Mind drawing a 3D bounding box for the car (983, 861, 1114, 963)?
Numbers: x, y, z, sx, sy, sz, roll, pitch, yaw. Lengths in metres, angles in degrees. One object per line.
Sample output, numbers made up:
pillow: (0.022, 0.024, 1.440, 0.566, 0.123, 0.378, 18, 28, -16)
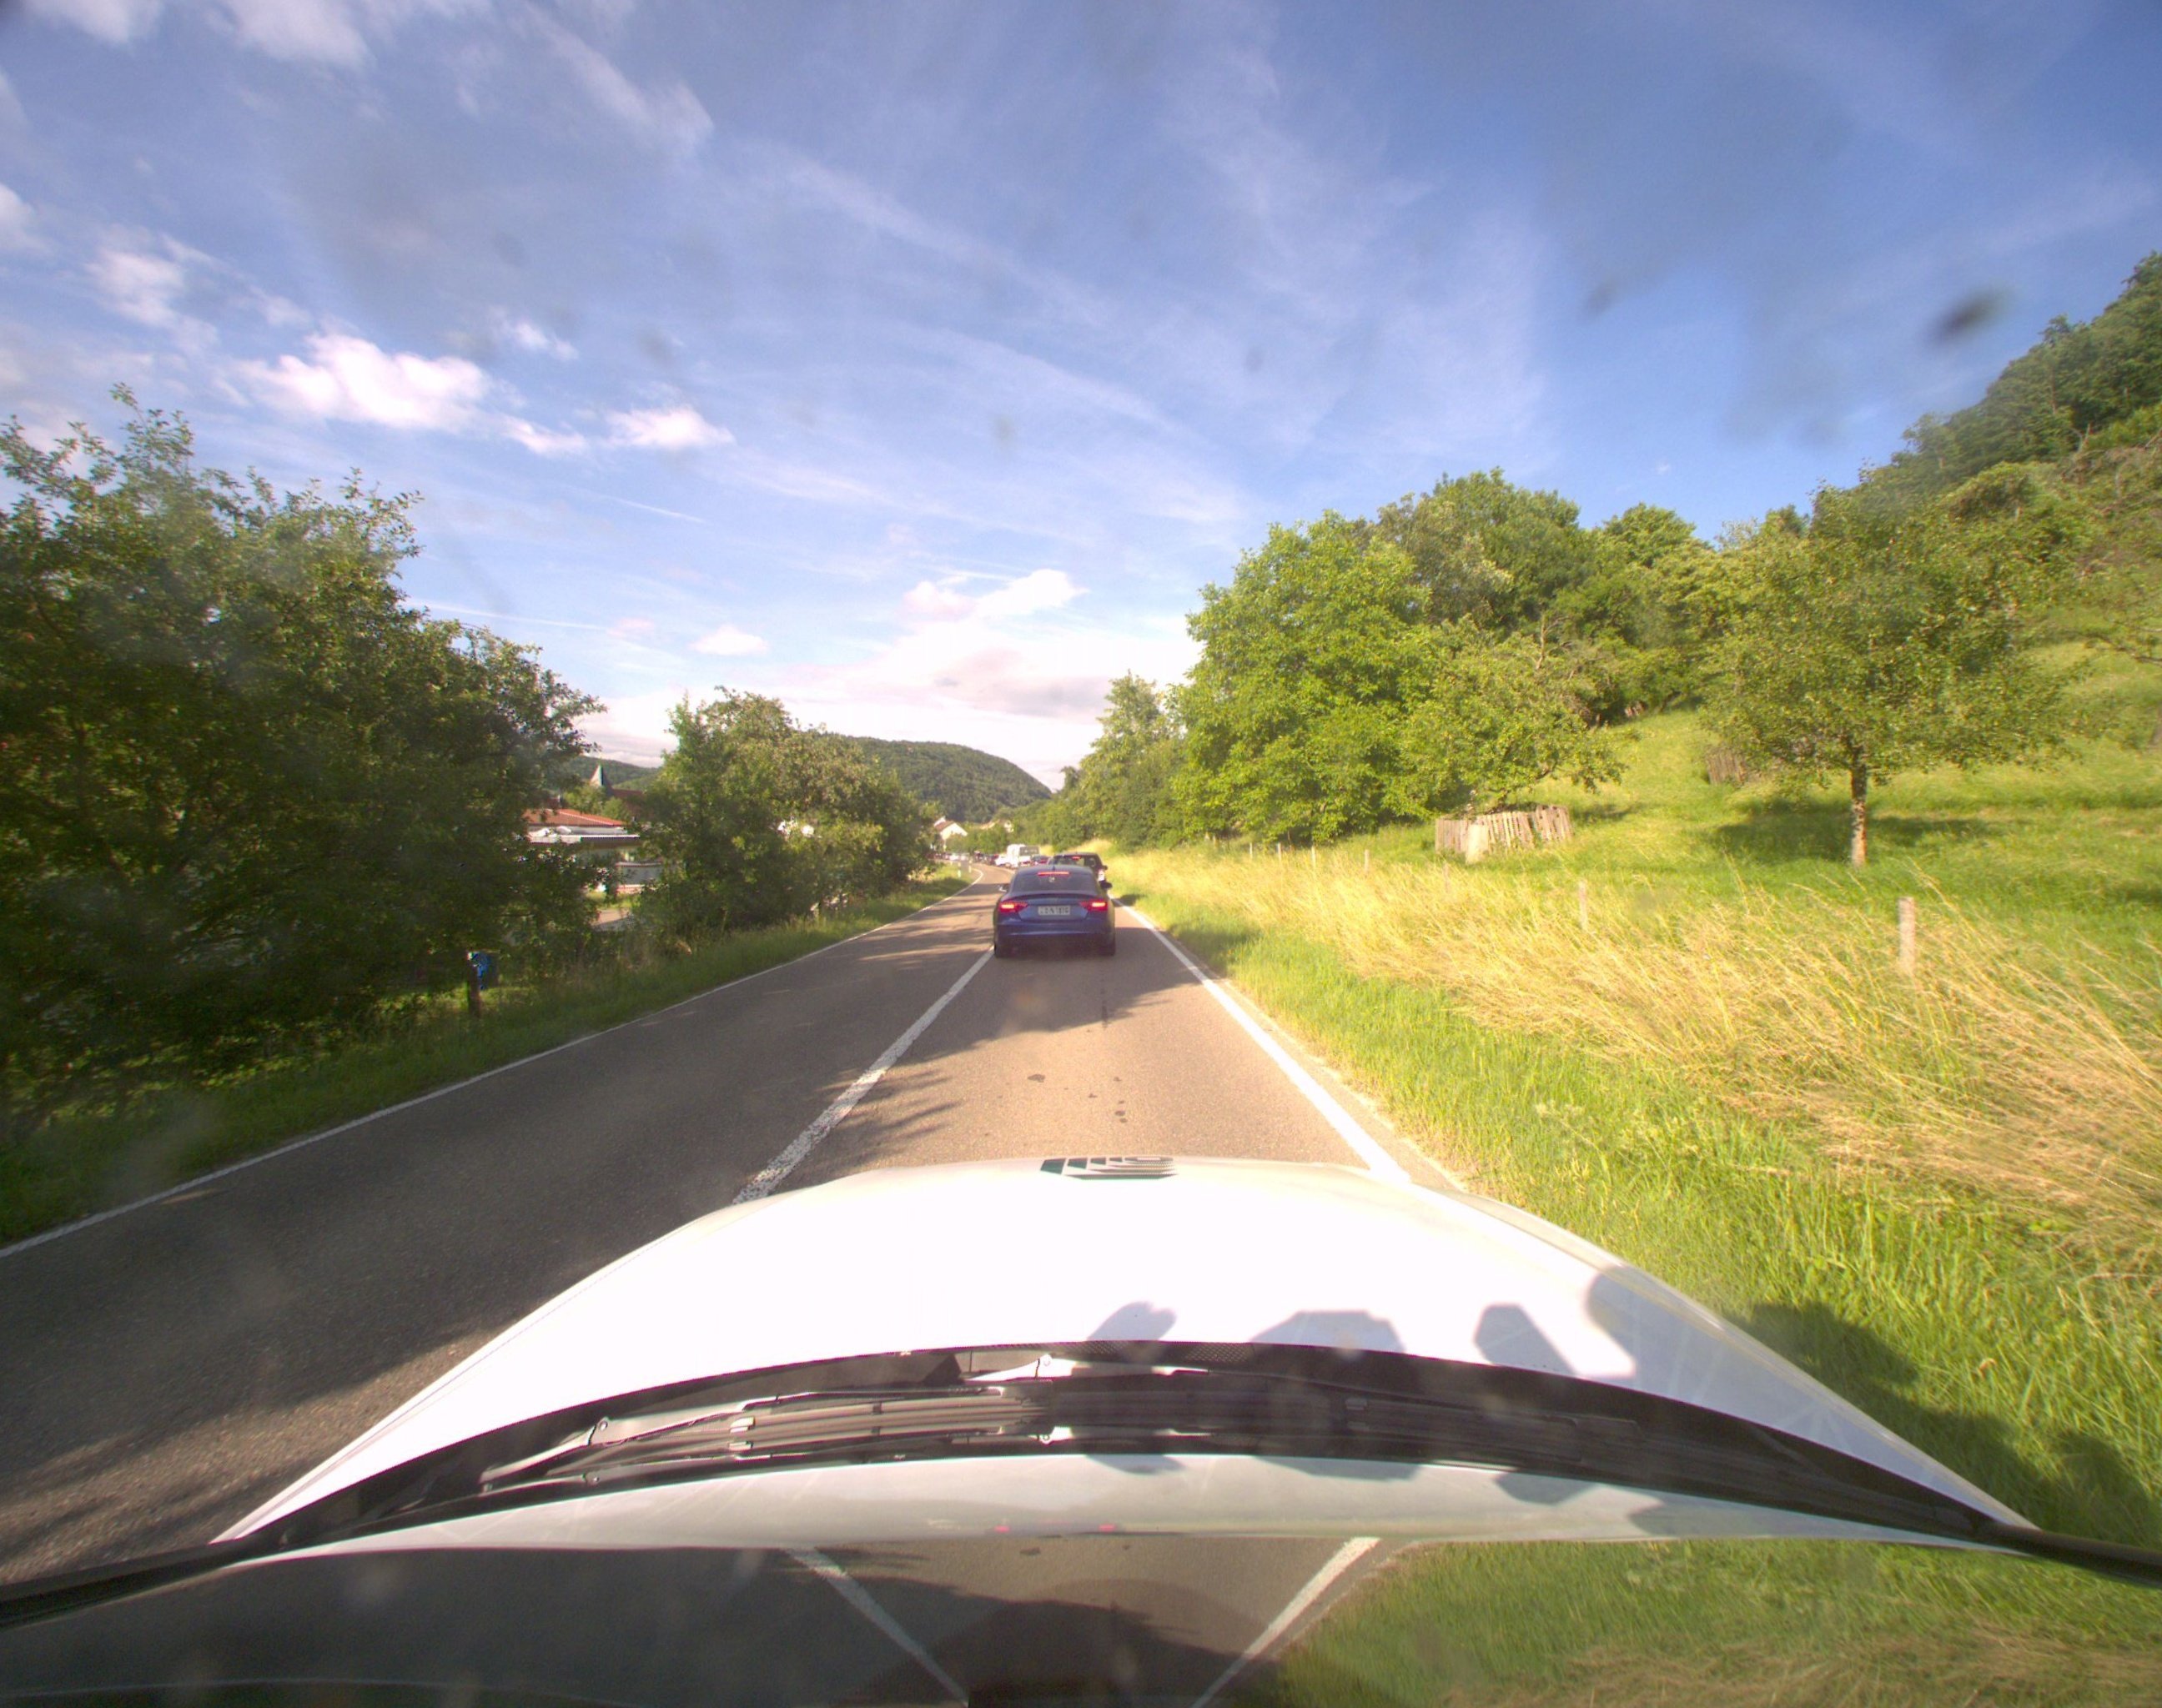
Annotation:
car: (-0.406, 0.821, 13.338, 1.787, 1.360, 4.001, -1, 0, 1)

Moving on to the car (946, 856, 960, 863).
car: (-24.985, 1.081, 158.849, 2.001, 1.482, 3.970, 0, -1, -22)

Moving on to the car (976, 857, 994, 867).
car: (-14.776, 1.277, 125.199, 1.998, 1.482, 3.978, 0, -1, -16)

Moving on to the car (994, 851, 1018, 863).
car: (-9.448, 0.367, 102.255, 2.000, 1.482, 3.973, 0, -1, -20)

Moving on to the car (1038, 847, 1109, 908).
car: (-0.196, 0.679, 24.844, 1.987, 1.702, 4.000, -1, -1, 0)

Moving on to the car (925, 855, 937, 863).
car: (-34.616, 1.162, 187.627, 2.001, 2.014, 3.972, 0, -1, -21)

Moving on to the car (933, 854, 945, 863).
car: (-30.628, 0.969, 175.691, 2.001, 2.014, 3.972, 0, -1, -21)

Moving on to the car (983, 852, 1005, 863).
car: (-11.760, 0.457, 109.818, 2.000, 1.482, 3.973, 0, -1, -20)

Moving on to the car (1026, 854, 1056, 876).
car: (-2.771, 0.753, 56.059, 1.990, 1.482, 3.994, -1, -1, -4)

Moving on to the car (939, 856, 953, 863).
car: (-27.956, 1.107, 168.980, 2.001, 1.482, 3.970, 0, -1, -22)

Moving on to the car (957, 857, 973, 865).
car: (-21.262, 1.321, 148.642, 2.001, 1.482, 3.970, 0, -1, -22)

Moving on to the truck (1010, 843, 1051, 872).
truck: (-5.143, 0.305, 80.394, 2.865, 2.665, 10.355, 0, 0, -10)

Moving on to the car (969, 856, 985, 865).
car: (-16.982, 1.107, 133.006, 1.998, 1.482, 3.978, 0, -1, -16)

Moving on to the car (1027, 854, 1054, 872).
car: (-3.389, 0.752, 67.828, 1.991, 1.482, 3.990, -1, -1, -7)

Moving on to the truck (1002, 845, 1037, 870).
truck: (-7.012, 0.367, 91.521, 2.865, 2.665, 10.606, 0, 0, -10)
